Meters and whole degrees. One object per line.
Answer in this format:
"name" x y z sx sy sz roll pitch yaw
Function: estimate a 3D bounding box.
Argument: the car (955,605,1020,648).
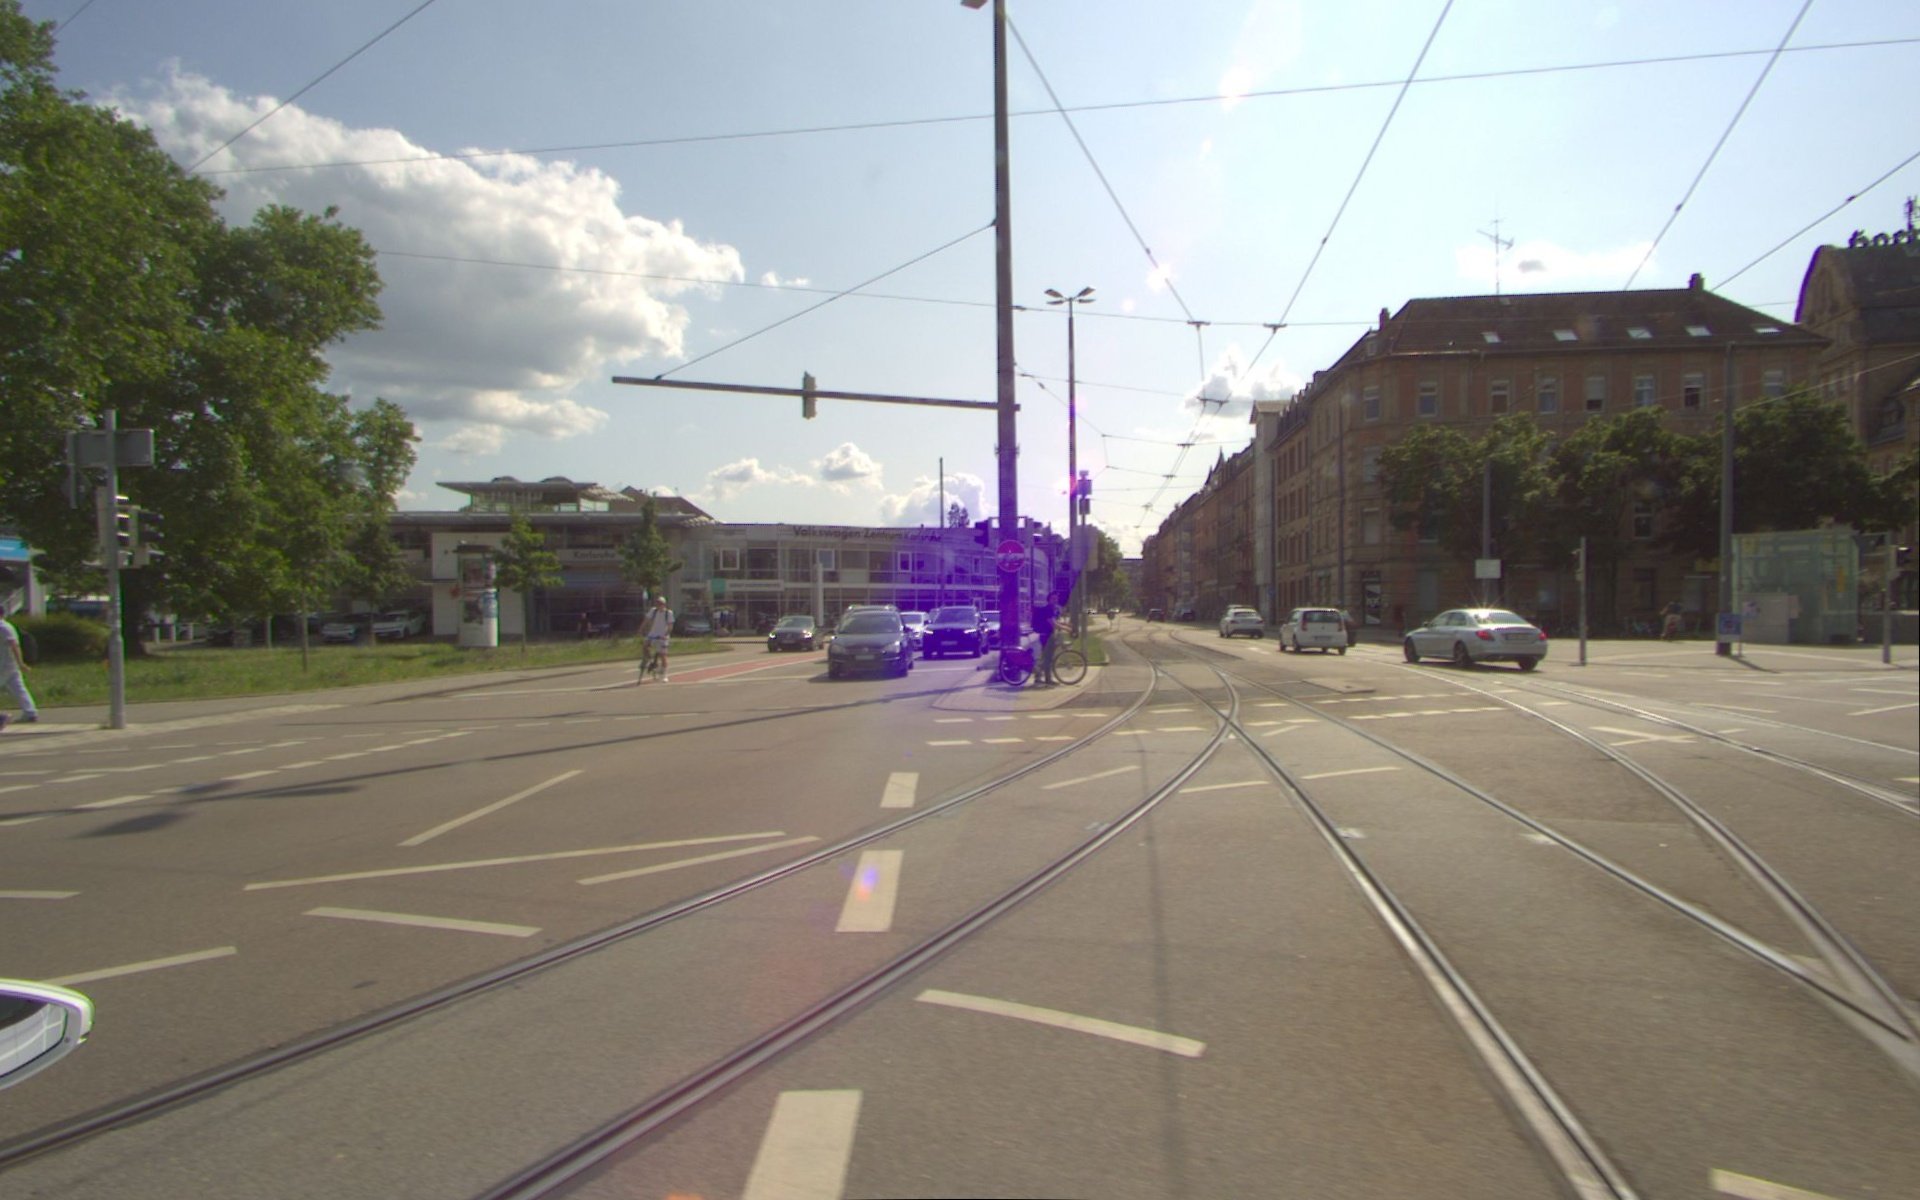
"car" 1.091 0.966 37.445 1.869 1.480 3.967 -1 -1 10

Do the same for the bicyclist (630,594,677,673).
"bicyclist" -6.757 0.738 22.096 0.747 1.705 0.760 -1 0 2

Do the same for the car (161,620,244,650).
"car" -49.342 2.290 65.296 3.922 1.813 1.842 -1 -1 -4

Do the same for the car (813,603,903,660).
"car" -3.054 0.920 30.787 1.710 1.594 3.998 -1 0 10

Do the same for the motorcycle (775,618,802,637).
"motorcycle" -11.236 1.804 65.660 0.559 1.201 1.951 1 -1 36

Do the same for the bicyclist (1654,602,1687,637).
"bicyclist" 26.238 0.714 36.990 0.624 1.236 0.923 -1 0 5

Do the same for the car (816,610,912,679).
"car" -2.094 0.944 22.745 1.709 1.391 3.641 -1 0 1

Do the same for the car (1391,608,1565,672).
"car" 12.964 0.943 25.470 1.899 1.474 4.759 0 0 -1

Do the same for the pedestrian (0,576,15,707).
"pedestrian" -13.498 0.551 13.541 0.915 1.766 0.585 2 -1 -34

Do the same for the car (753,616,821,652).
"car" -6.840 1.331 40.027 1.709 1.305 3.999 -1 0 5

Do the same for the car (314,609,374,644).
"car" -36.755 1.574 59.878 1.938 1.962 4.225 -2 -1 -16

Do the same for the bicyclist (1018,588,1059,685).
"bicyclist" 1.460 0.667 18.643 0.649 1.761 0.639 1 1 -5

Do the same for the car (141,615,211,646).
"car" -47.857 1.877 61.116 3.937 1.813 1.836 -2 -1 27

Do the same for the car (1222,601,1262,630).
"car" 17.228 0.983 61.388 1.807 1.673 4.000 1 -1 8

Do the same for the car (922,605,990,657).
"car" -0.056 0.899 30.585 1.662 1.481 3.968 -1 0 5

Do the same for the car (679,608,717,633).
"car" -17.743 1.382 67.877 1.789 1.553 3.917 -2 -1 -5

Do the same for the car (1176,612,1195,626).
"car" 26.857 2.307 119.448 1.807 1.673 4.000 1 -1 8

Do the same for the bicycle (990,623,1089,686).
"bicycle" 1.469 1.003 18.617 1.750 1.140 0.639 1 1 -5

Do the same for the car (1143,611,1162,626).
"car" 21.390 2.047 111.228 1.807 1.673 4.000 1 -1 8

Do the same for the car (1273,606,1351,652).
"car" 11.743 0.934 33.639 1.623 1.440 3.999 0 0 6

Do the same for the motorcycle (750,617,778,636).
"motorcycle" -12.738 1.748 65.069 0.559 1.201 1.951 1 -1 36

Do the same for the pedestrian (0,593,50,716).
"pedestrian" -13.999 0.780 14.624 0.914 1.766 0.586 2 -1 -31

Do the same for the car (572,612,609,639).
"car" -22.463 1.555 61.036 1.791 1.553 3.911 -2 -1 -16

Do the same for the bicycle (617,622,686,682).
"bicycle" -6.736 1.113 21.981 0.747 1.208 2.150 -1 0 2

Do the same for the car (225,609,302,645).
"car" -41.425 1.610 59.734 1.937 1.962 5.064 -2 -1 -13

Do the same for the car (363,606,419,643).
"car" -34.142 1.482 60.184 1.964 2.039 4.225 -2 -1 -16

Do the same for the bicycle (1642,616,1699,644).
"bicycle" 26.244 1.101 37.013 0.833 0.983 1.960 -1 0 6

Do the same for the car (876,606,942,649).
"car" -1.859 0.999 37.735 1.600 1.481 3.966 -1 0 10

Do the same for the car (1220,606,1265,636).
"car" 13.958 1.044 49.666 1.820 1.437 3.678 1 -1 11

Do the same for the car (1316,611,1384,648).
"car" 15.569 1.166 40.172 1.671 1.390 4.131 0 0 8
